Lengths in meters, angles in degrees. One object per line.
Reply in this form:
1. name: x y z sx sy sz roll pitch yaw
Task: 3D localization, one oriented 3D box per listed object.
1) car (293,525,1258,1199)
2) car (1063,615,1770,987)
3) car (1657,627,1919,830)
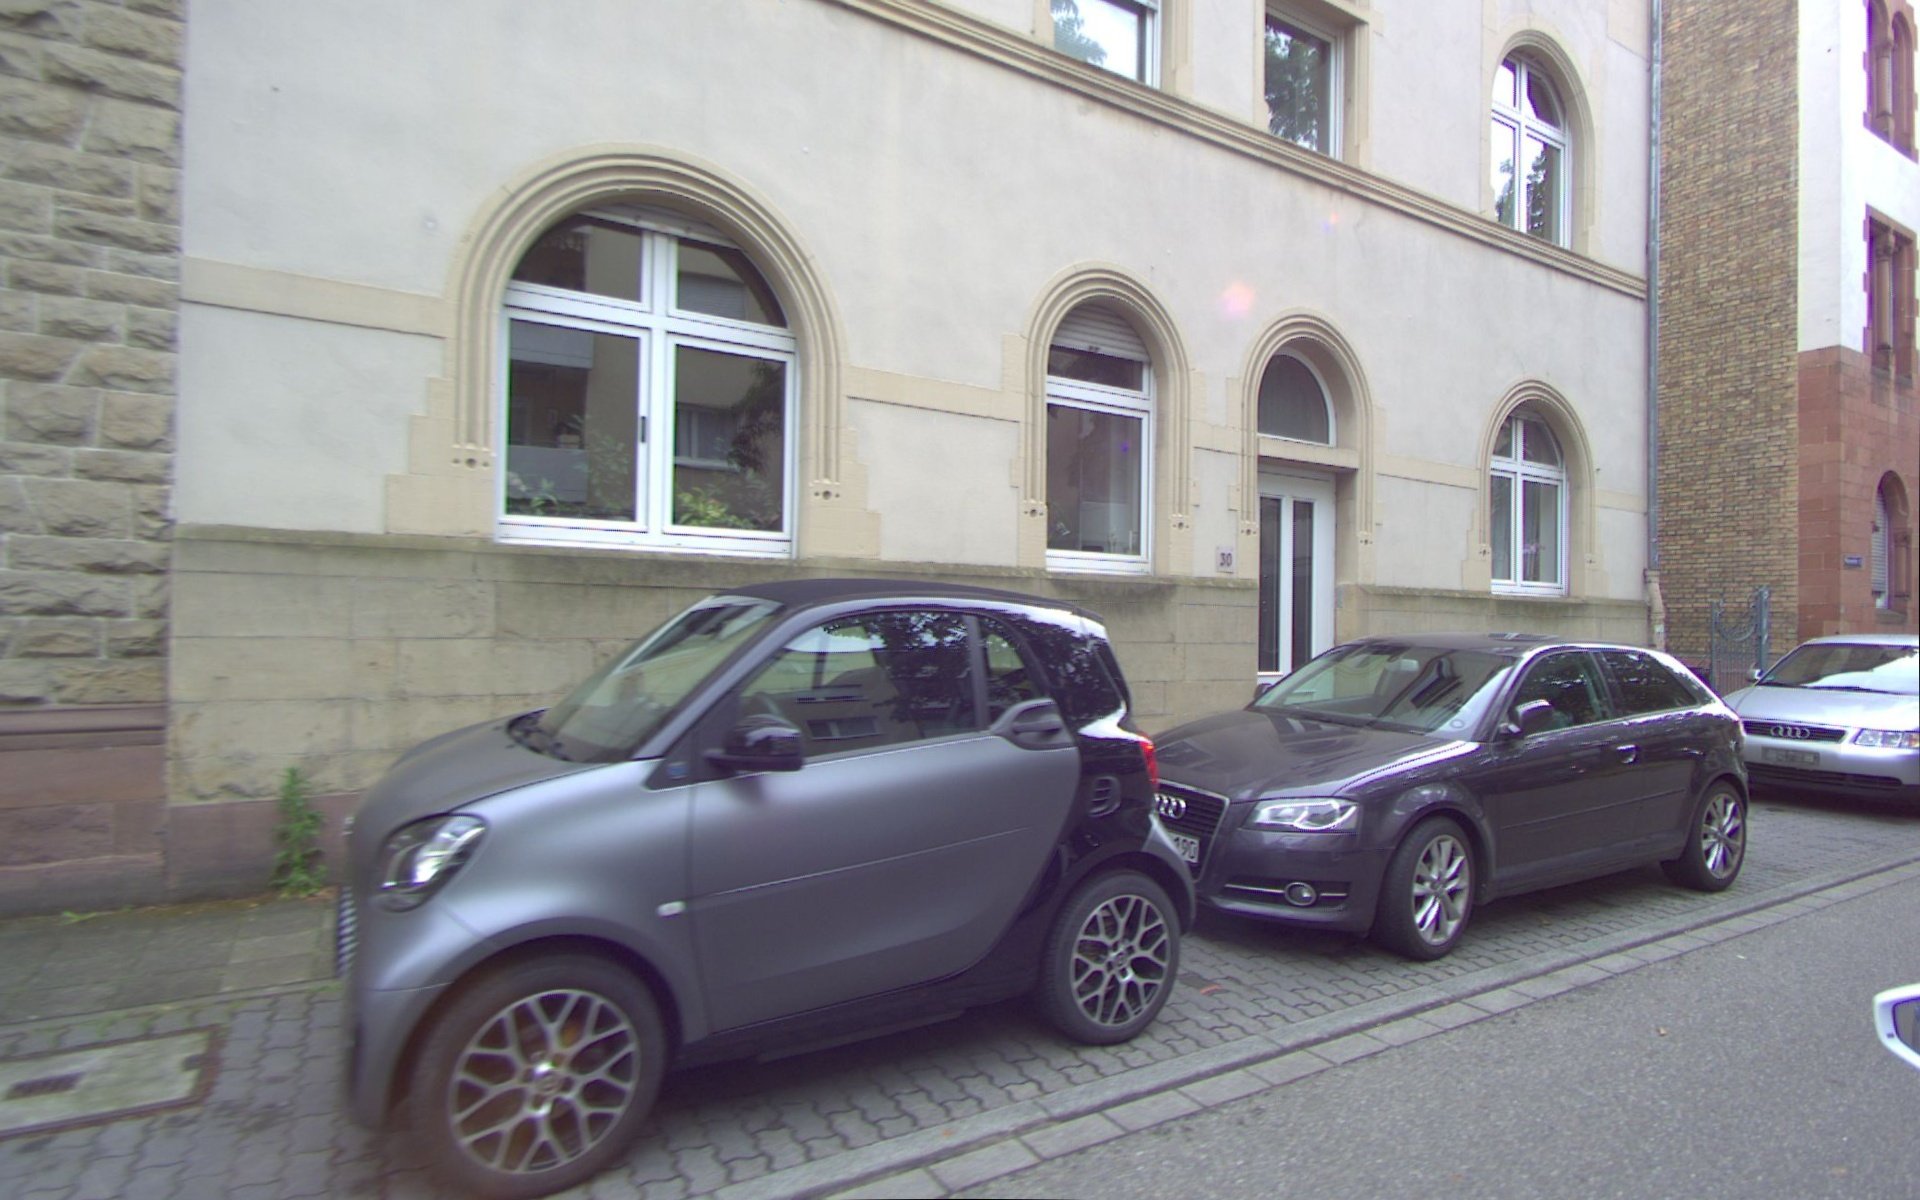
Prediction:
1. car: -0.585 0.638 3.591 2.924 1.592 1.637 1 1 -32
2. car: 2.665 0.851 5.663 3.884 1.405 1.717 2 0 -31
3. car: 8.276 0.996 9.092 4.090 1.405 1.717 1 0 -31
